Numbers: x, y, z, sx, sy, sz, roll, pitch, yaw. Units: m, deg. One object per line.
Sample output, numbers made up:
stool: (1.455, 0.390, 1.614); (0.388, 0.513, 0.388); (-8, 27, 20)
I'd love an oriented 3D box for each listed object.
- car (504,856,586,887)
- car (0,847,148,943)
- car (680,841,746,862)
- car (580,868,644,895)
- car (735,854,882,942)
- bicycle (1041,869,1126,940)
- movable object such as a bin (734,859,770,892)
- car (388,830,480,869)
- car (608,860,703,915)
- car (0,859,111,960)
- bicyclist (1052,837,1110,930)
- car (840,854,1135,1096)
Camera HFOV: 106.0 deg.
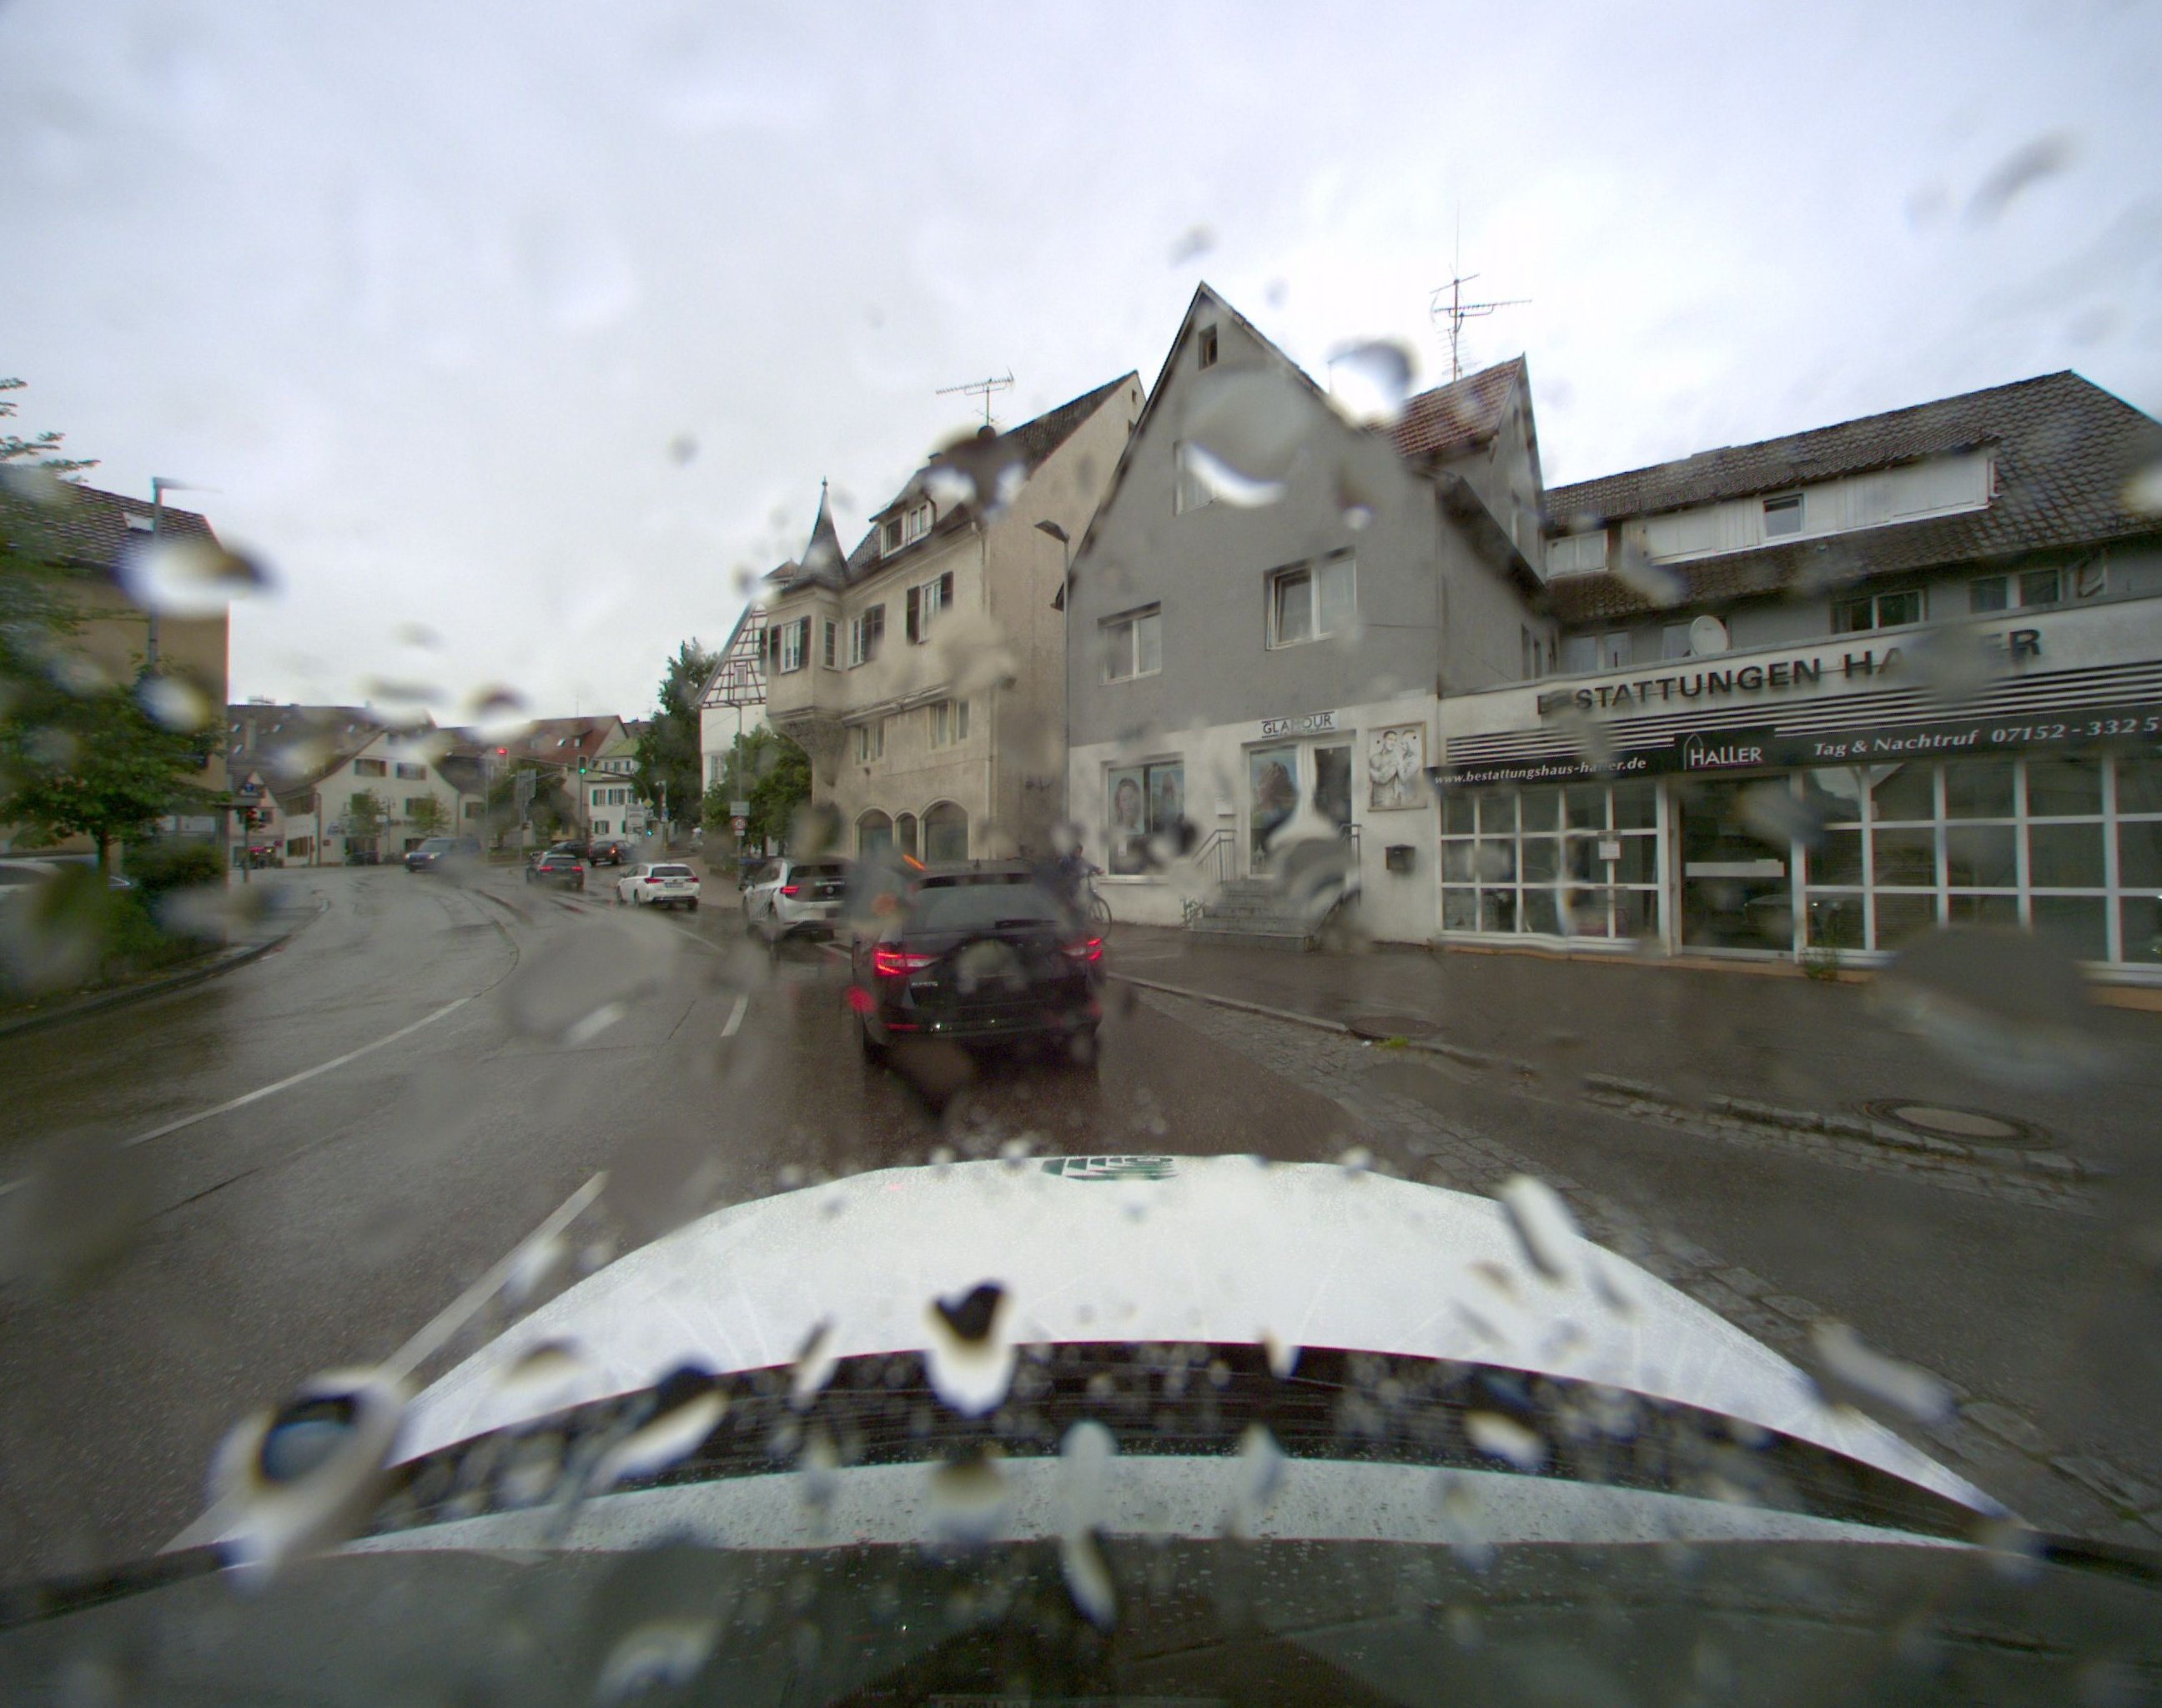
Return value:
car: (-23.928, 0.775, 36.312); (3.948, 1.302, 2.013); (-1, -1, 40)
car: (-24.338, 1.005, 17.689); (1.938, 1.824, 4.968); (2, 6, 31)
car: (-29.444, -0.174, 65.292); (1.974, 1.591, 4.507); (0, -1, 33)
car: (-28.770, 1.649, 50.094); (1.574, 1.524, 3.441); (-1, 0, 9)
car: (-5.461, 0.780, 16.013); (1.869, 1.473, 3.959); (-1, -1, -32)
bicycle: (0.005, 0.824, 13.826); (0.764, 1.035, 2.067); (2, 0, -19)
movable object such as a bin: (-13.605, 0.871, 33.682); (1.163, 1.313, 1.174); (0, 0, -34)
car: (-34.893, -0.197, 44.075); (1.993, 1.882, 4.363); (-1, -2, -9)
car: (-13.771, 1.032, 26.248); (1.901, 1.596, 4.275); (-1, -1, -39)
car: (-18.593, 0.905, 12.940); (1.976, 1.629, 3.666); (-1, 0, 23)
bicyclist: (-0.016, 0.478, 13.961); (0.685, 1.518, 1.023); (0, 0, -20)
car: (-1.107, 0.765, 7.350); (1.890, 1.448, 4.334); (-1, 0, -15)
